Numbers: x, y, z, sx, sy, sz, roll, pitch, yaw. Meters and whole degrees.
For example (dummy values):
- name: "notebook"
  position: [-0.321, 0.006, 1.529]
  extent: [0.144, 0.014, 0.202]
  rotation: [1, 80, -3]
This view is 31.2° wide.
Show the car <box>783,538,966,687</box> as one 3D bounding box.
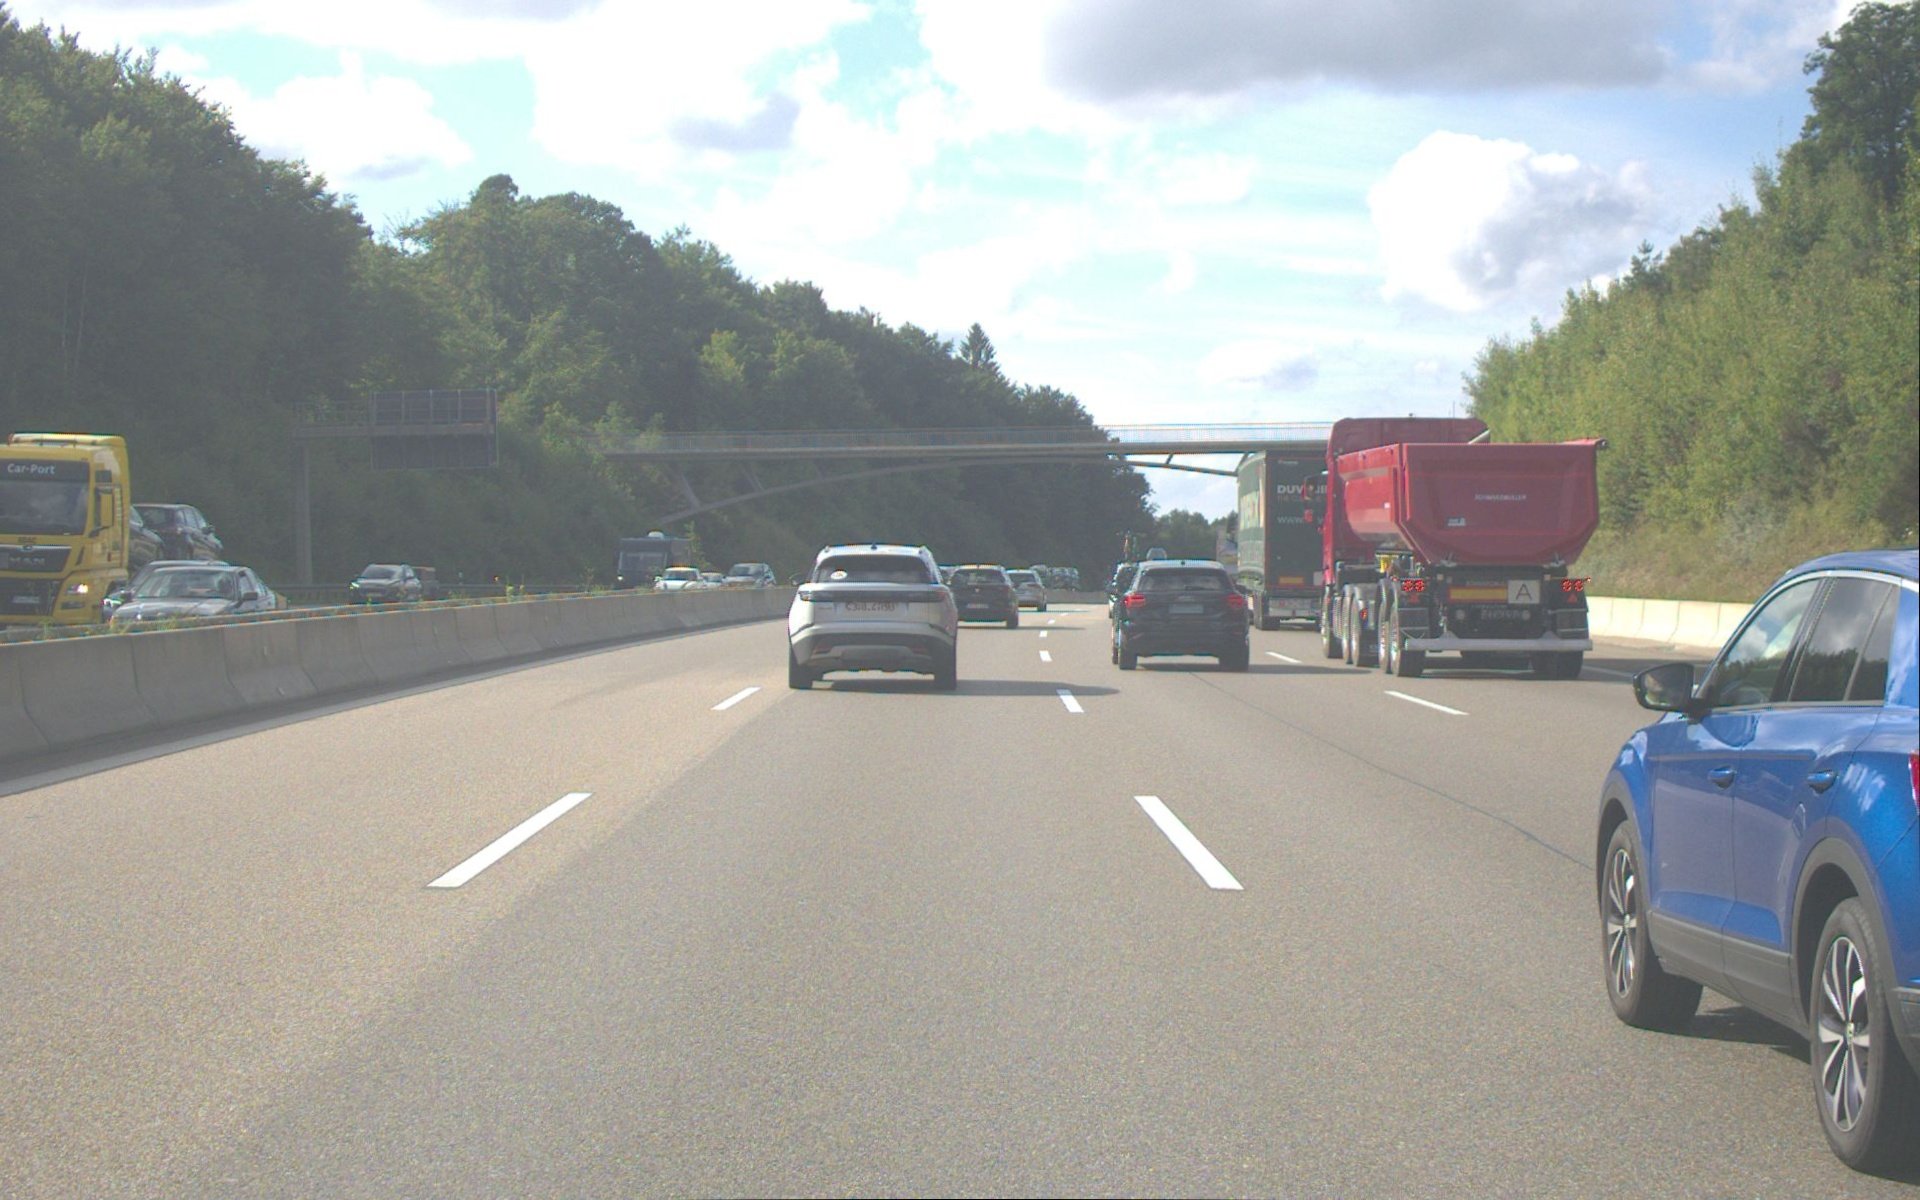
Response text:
- name: "car"
  position: [-1.004, 0.095, 40.748]
  extent: [2.006, 1.610, 5.301]
  rotation: [1, 1, -1]

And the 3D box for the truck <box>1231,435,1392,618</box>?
- name: "truck"
  position: [7.974, -1.674, 79.191]
  extent: [3.119, 3.921, 10.410]
  rotation: [1, 1, 3]

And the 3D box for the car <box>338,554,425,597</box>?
- name: "car"
  position: [-18.936, -0.815, 112.691]
  extent: [1.812, 1.385, 4.936]
  rotation: [0, 1, 3]

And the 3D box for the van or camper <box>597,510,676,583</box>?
- name: "van or camper"
  position: [-14.065, -2.337, 150.033]
  extent: [2.559, 3.115, 7.334]
  rotation: [1, 1, 1]

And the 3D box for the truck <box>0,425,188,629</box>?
- name: "truck"
  position: [-17.474, -1.436, 67.849]
  extent: [2.776, 3.797, 7.134]
  rotation: [1, 1, 1]

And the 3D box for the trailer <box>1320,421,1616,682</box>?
- name: "trailer"
  position: [6.839, -0.685, 47.700]
  extent: [2.710, 3.220, 9.733]
  rotation: [1, 1, 0]

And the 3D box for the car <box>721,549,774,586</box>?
- name: "car"
  position: [-9.220, -1.433, 149.557]
  extent: [1.923, 1.534, 4.702]
  rotation: [1, 1, 1]

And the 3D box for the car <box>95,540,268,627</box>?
- name: "car"
  position: [-13.931, -0.320, 61.782]
  extent: [1.993, 1.481, 4.983]
  rotation: [0, 1, 0]

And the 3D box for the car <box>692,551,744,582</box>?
- name: "car"
  position: [-12.289, -1.711, 174.964]
  extent: [1.923, 1.534, 4.701]
  rotation: [1, 1, 5]

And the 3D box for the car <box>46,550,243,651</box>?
- name: "car"
  position: [-11.150, -0.028, 47.271]
  extent: [1.684, 1.303, 4.198]
  rotation: [1, 1, 0]

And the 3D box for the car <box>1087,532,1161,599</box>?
- name: "car"
  position: [4.644, -0.988, 97.719]
  extent: [1.893, 1.850, 4.100]
  rotation: [0, 1, 0]

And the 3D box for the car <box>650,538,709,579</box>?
- name: "car"
  position: [-10.807, -1.600, 132.660]
  extent: [1.815, 1.530, 4.316]
  rotation: [1, 1, 1]

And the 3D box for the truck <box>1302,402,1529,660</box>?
- name: "truck"
  position: [6.878, -1.042, 52.608]
  extent: [2.710, 3.706, 5.817]
  rotation: [1, 1, 1]

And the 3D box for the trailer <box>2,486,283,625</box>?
- name: "trailer"
  position: [-17.449, -0.987, 74.534]
  extent: [2.776, 2.710, 13.313]
  rotation: [1, 1, 1]

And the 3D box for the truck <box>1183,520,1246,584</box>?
- name: "truck"
  position: [12.110, -2.271, 162.984]
  extent: [2.845, 2.915, 8.384]
  rotation: [0, 1, 5]

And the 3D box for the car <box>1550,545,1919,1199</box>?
- name: "car"
  position: [2.962, 0.619, 9.648]
  extent: [1.773, 1.525, 4.458]
  rotation: [0, 1, -1]

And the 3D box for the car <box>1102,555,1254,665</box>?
- name: "car"
  position: [3.010, 0.107, 48.155]
  extent: [1.822, 1.452, 4.000]
  rotation: [0, 1, 0]

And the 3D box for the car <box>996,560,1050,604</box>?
- name: "car"
  position: [2.213, -0.637, 119.853]
  extent: [1.822, 1.452, 4.000]
  rotation: [1, 1, 1]

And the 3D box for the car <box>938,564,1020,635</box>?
- name: "car"
  position: [0.455, -0.042, 79.768]
  extent: [1.822, 1.541, 4.000]
  rotation: [1, 1, 1]
